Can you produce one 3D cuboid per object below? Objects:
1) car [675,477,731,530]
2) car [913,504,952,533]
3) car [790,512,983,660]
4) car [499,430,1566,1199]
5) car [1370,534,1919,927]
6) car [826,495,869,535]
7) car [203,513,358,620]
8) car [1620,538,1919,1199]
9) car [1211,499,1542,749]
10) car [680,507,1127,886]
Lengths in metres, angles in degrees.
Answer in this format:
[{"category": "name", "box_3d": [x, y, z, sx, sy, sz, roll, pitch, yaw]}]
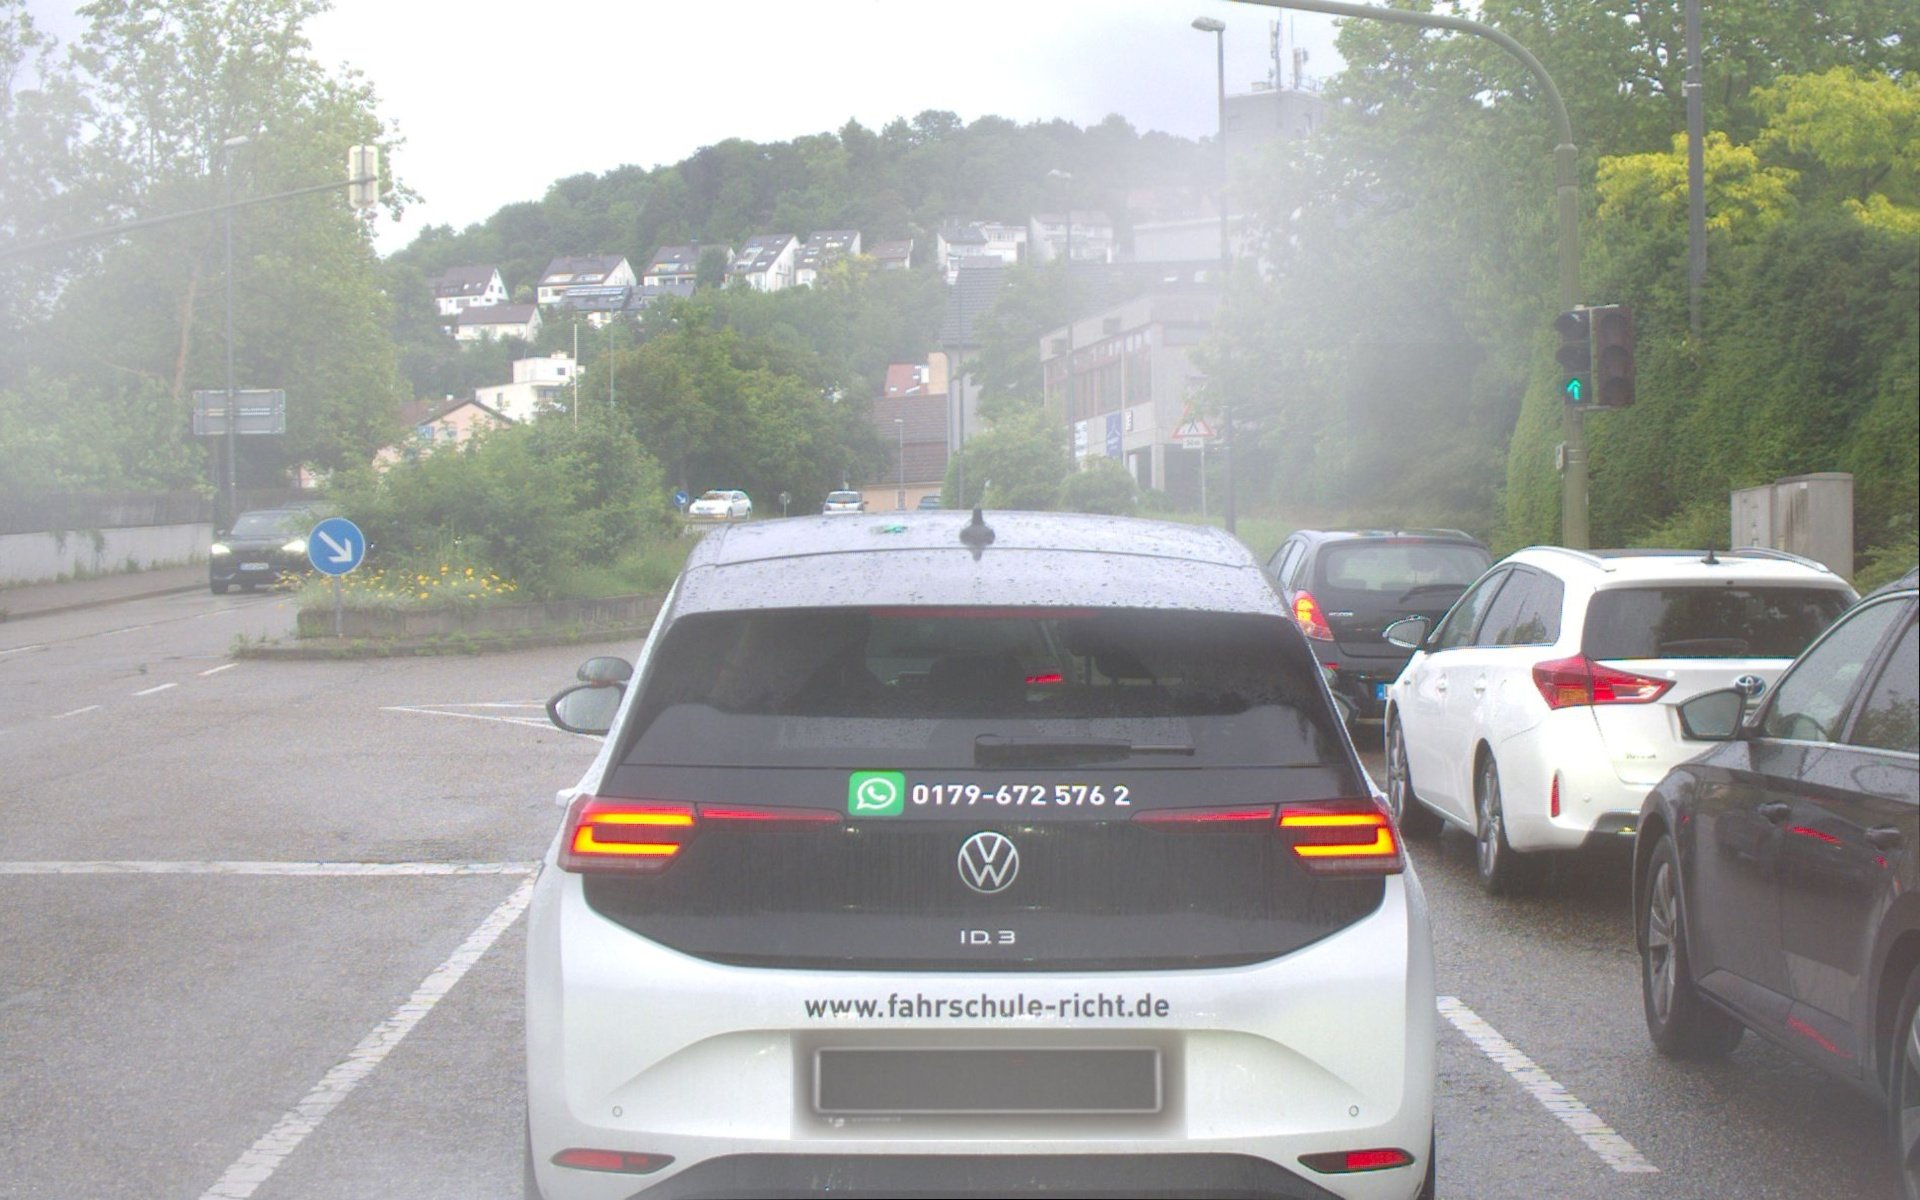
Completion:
[{"category": "car", "box_3d": [-10.486, -3.925, 140.307, 1.993, 2.007, 4.000, 1, 0, 0]}, {"category": "car", "box_3d": [-1.359, -4.018, 169.245, 1.761, 1.413, 3.749, -1, 2, -3]}, {"category": "car", "box_3d": [-0.747, -0.180, 35.097, 1.837, 1.395, 3.831, 1, 1, -1]}, {"category": "car", "box_3d": [0.076, 0.478, 8.327, 1.837, 1.623, 4.616, 1, 1, -1]}, {"category": "car", "box_3d": [3.051, 0.470, 15.331, 1.837, 1.461, 4.117, 1, 1, -1]}, {"category": "car", "box_3d": [-4.354, -3.298, 133.402, 1.581, 1.462, 4.000, -1, 1, -1]}, {"category": "car", "box_3d": [-12.420, -0.626, 63.099, 1.993, 1.798, 4.000, -3, 1, 0]}, {"category": "car", "box_3d": [2.894, 0.616, 8.166, 1.838, 1.461, 4.350, 1, 1, 1]}, {"category": "car", "box_3d": [2.831, 0.128, 24.161, 1.775, 1.576, 4.000, 1, 1, 0]}, {"category": "car", "box_3d": [-0.280, 0.354, 16.475, 1.837, 1.549, 4.175, 1, 1, -1]}]
